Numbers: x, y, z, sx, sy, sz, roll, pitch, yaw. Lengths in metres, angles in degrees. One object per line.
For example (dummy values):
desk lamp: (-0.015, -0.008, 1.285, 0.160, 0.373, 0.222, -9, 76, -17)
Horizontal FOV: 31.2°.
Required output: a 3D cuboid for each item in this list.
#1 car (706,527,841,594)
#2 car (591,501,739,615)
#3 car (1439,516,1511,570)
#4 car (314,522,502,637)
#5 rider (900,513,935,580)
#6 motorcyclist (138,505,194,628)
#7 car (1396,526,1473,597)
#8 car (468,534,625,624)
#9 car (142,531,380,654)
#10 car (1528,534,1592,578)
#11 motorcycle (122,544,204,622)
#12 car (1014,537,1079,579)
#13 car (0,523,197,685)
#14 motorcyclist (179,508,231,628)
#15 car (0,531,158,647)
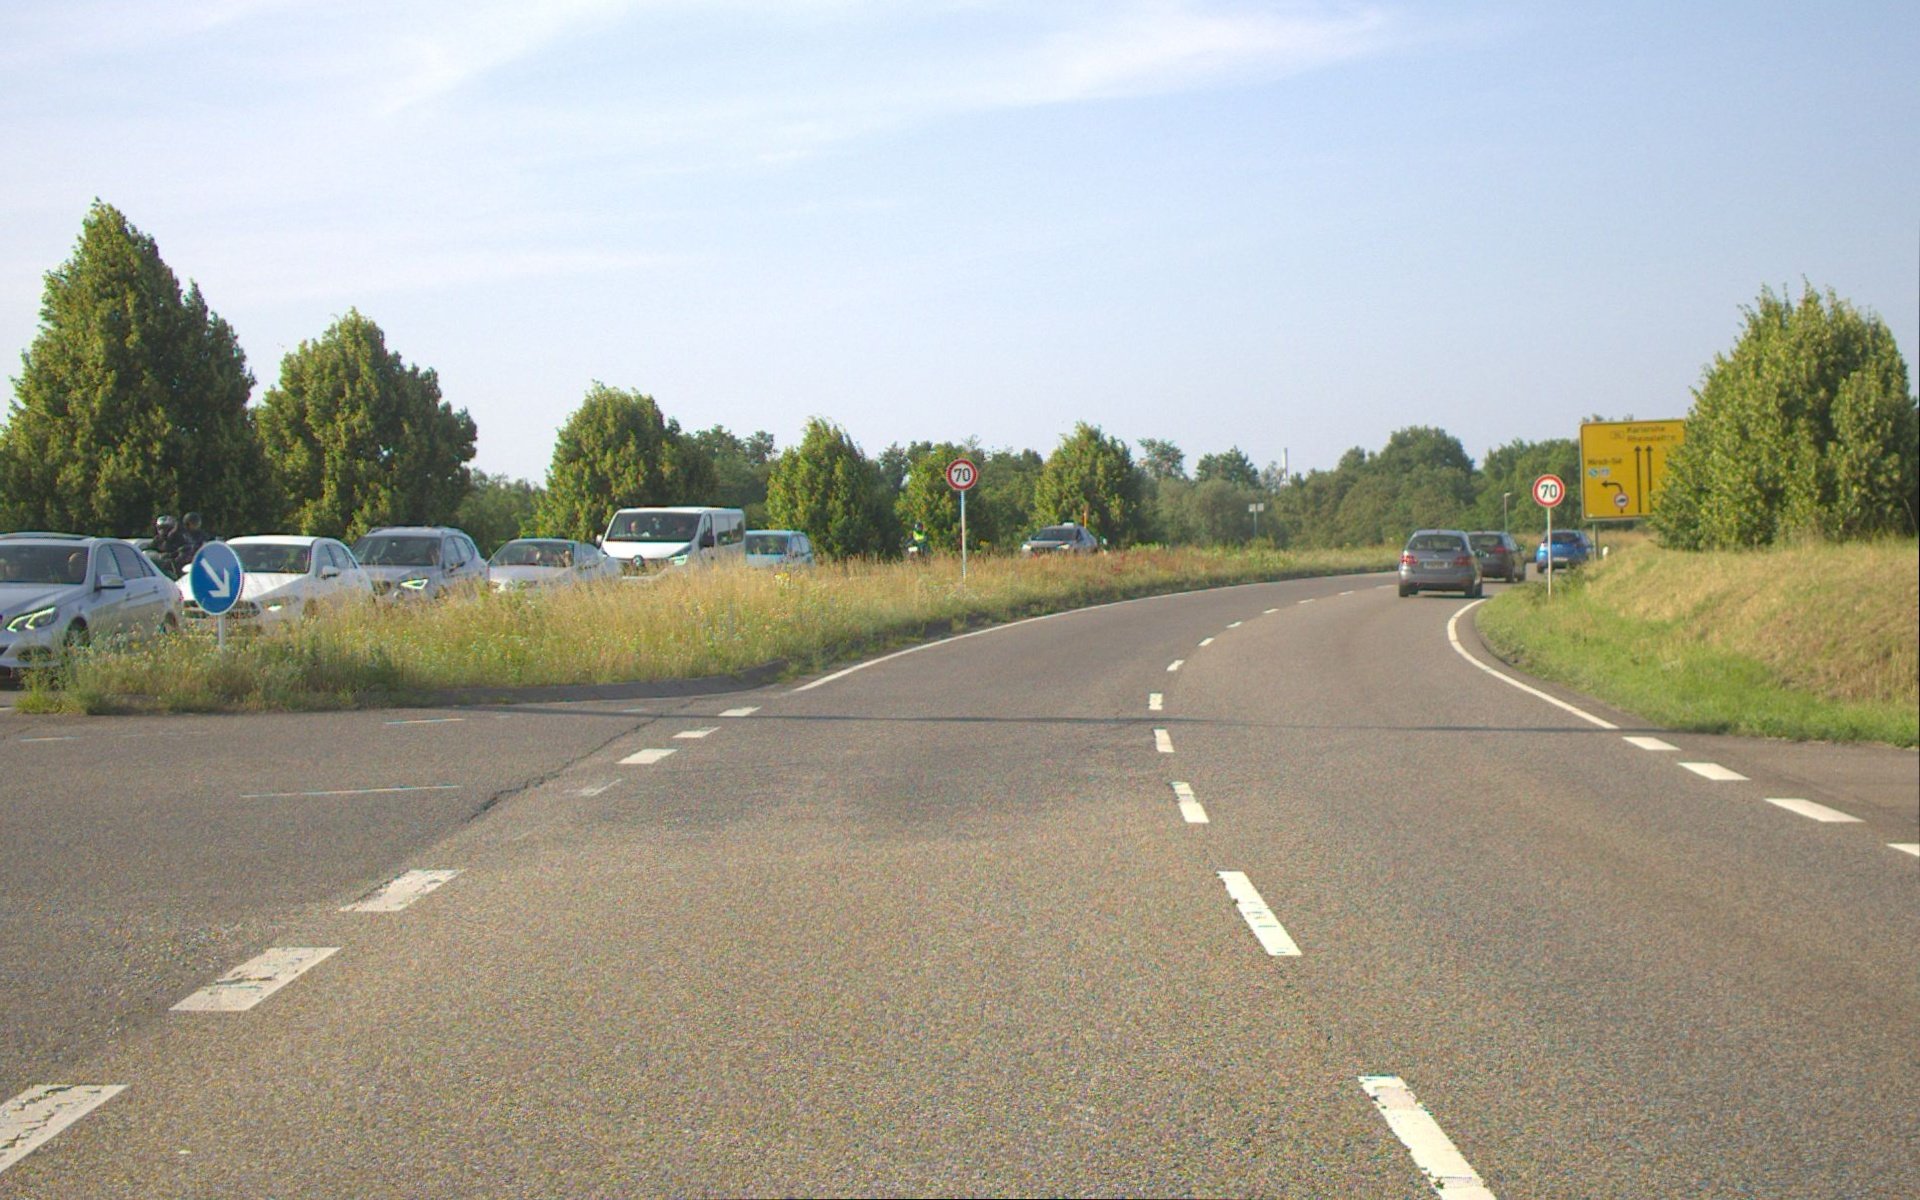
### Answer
car: (-3.954, -0.850, 73.521, 1.787, 1.381, 4.049, 0, 1, 13)
car: (-5.536, -0.800, 65.003, 1.926, 2.071, 4.242, -1, 1, 7)
car: (15.155, -1.671, 101.005, 1.811, 1.560, 4.528, 0, 1, 12)
car: (-7.874, -0.316, 49.397, 1.786, 1.563, 4.051, -1, 1, 4)
rider: (-1.286, -1.633, 104.994, 0.868, 2.007, 0.771, 0, 1, 15)
motorcyclist: (-11.356, -0.475, 49.188, 0.662, 1.741, 0.605, -1, 1, -3)
car: (11.319, -0.897, 82.014, 1.785, 1.600, 4.194, 0, 0, 8)
car: (-6.656, -0.357, 55.698, 1.786, 1.381, 4.051, -1, 1, 4)
car: (-8.568, -0.126, 42.489, 1.786, 1.428, 4.308, -1, 1, 4)
car: (20.569, -1.528, 117.803, 1.774, 1.487, 3.982, 0, 1, 16)
motorcycle: (-11.409, -0.249, 49.232, 0.873, 1.093, 1.469, -1, 1, -2)
car: (2.999, -1.446, 118.142, 1.406, 1.397, 3.420, 0, 1, 16)
car: (-9.092, 0.008, 33.929, 1.786, 1.483, 4.651, -1, 1, 4)
motorcyclist: (-11.444, -0.489, 52.142, 0.662, 1.810, 0.605, -1, 1, -3)
car: (-11.918, -0.165, 44.664, 1.786, 1.428, 4.051, -1, 1, 4)
